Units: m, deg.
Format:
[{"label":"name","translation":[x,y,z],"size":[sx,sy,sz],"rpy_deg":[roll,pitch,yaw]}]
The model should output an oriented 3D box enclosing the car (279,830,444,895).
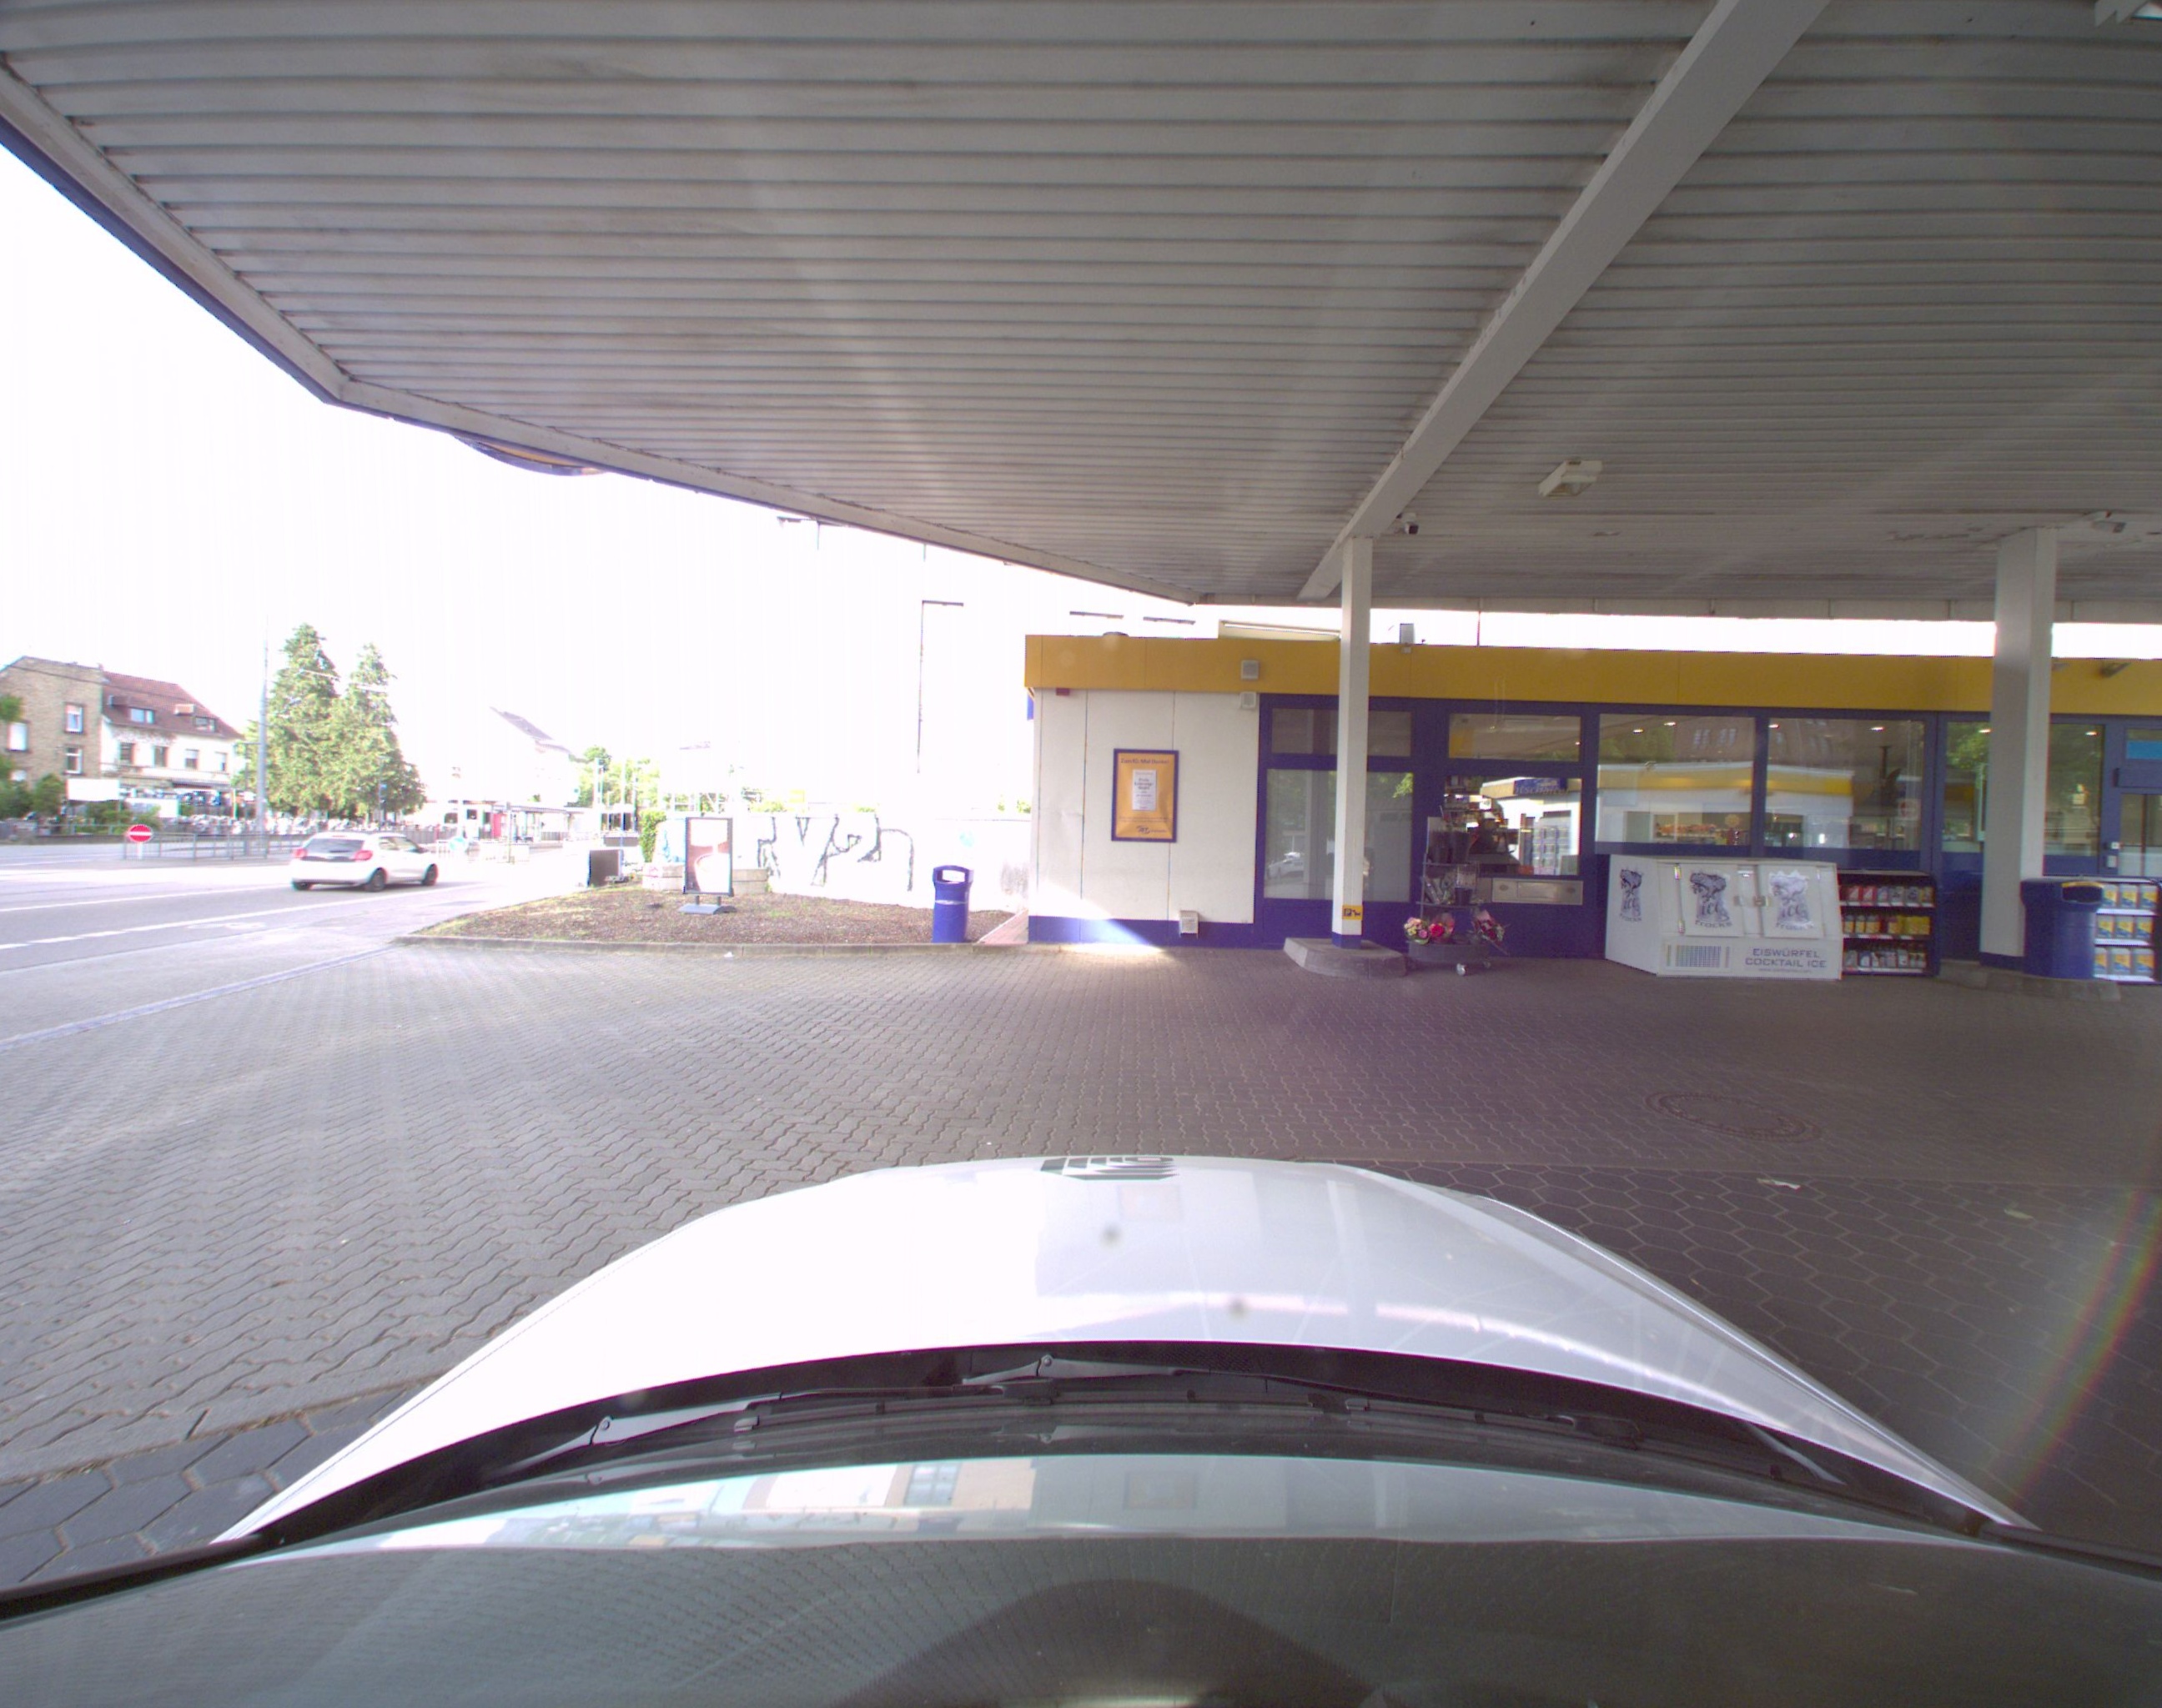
[{"label":"car","translation":[-17.948,0.170,20.531],"size":[1.687,1.433,3.411],"rpy_deg":[3,1,-15]}]
